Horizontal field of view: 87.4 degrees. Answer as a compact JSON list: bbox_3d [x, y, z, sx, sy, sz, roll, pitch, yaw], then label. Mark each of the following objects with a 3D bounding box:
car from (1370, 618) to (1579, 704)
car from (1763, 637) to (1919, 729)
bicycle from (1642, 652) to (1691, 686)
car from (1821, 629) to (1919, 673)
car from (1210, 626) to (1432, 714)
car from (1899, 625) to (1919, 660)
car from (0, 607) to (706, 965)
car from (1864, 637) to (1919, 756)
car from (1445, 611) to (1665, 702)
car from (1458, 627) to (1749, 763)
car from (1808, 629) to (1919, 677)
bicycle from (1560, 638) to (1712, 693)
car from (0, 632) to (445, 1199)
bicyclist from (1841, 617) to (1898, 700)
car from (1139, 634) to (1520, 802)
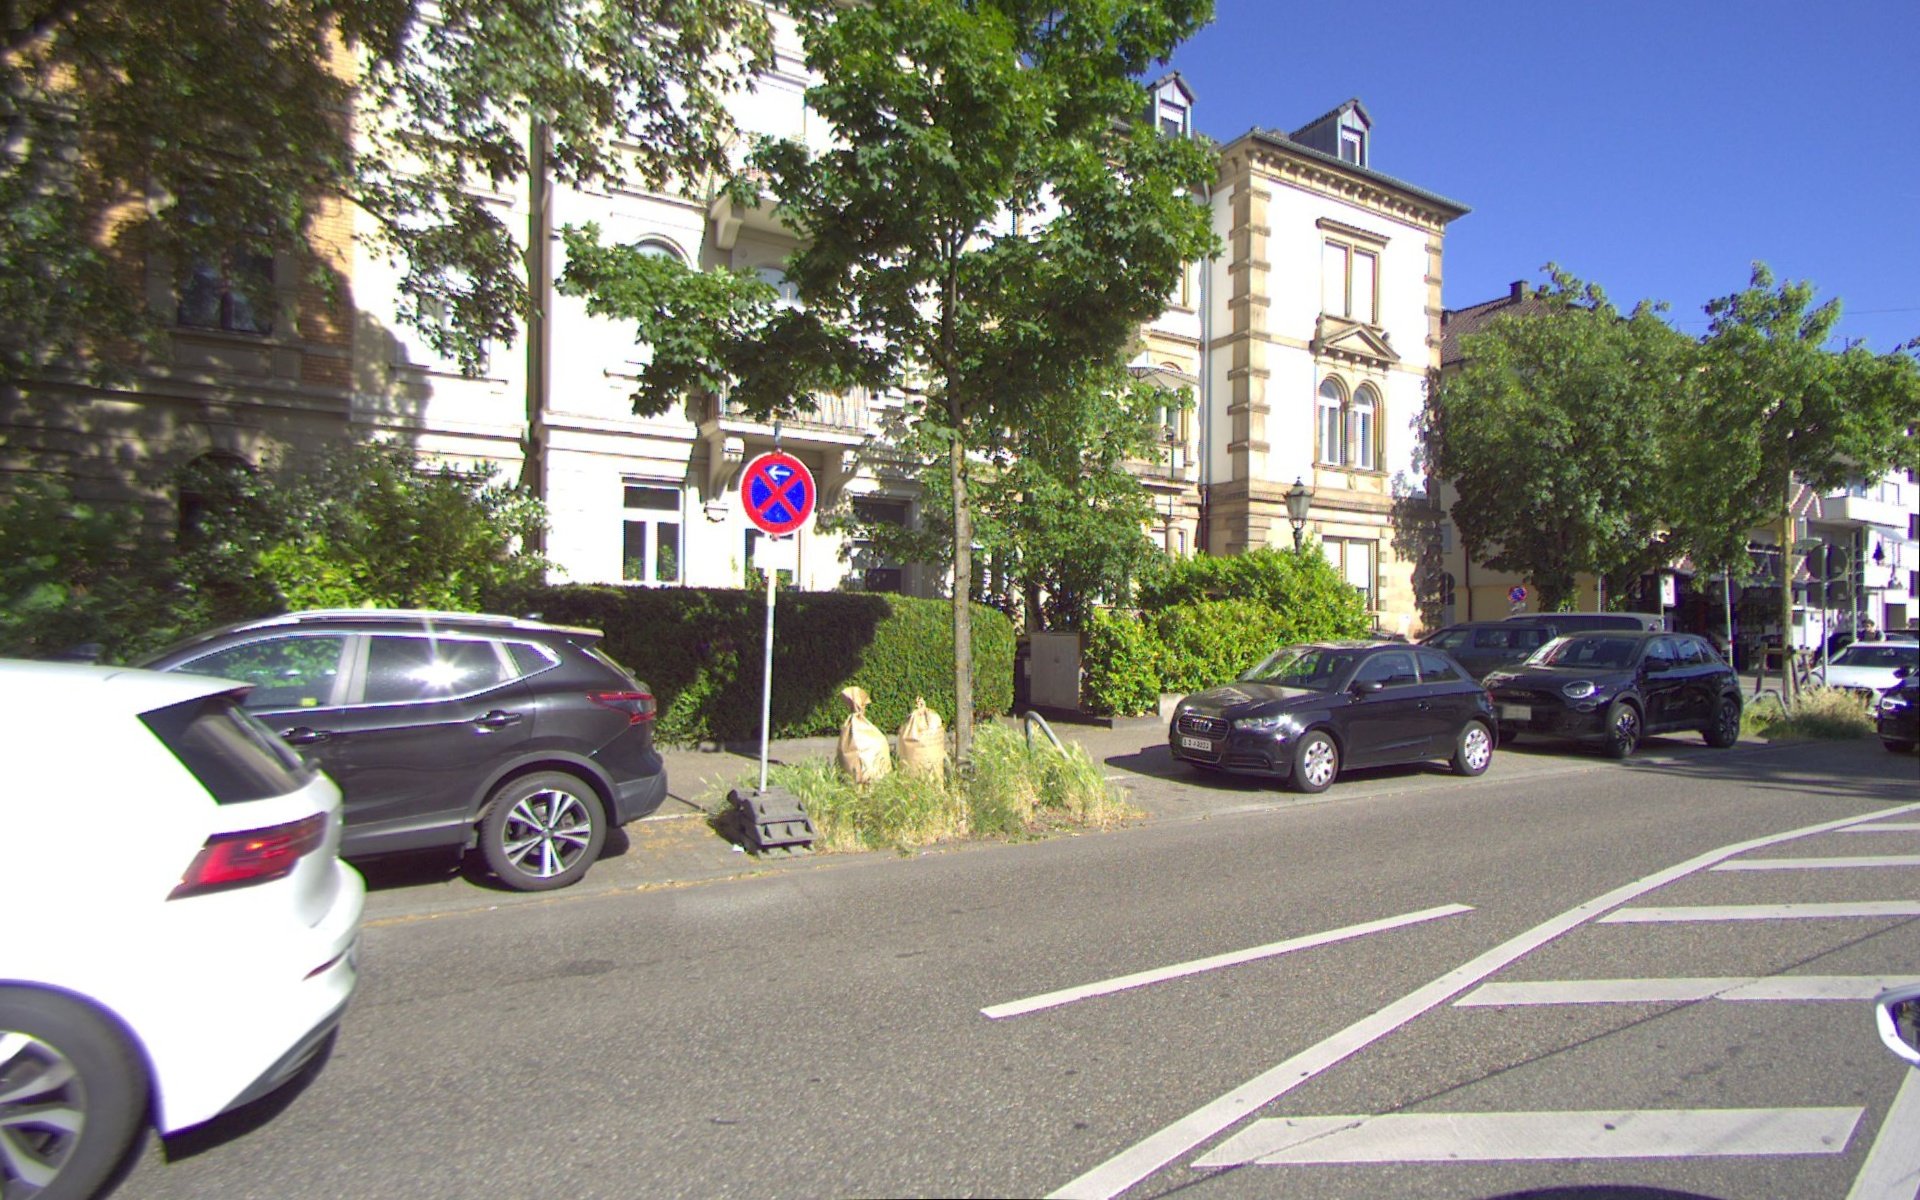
[{"bbox_3d":[11.164,1.246,21.908,3.857,1.666,1.674,0,0,37],"label":"car"},{"bbox_3d":[16.691,1.407,18.174,4.746,1.407,1.825,1,-1,-31],"label":"car"},{"bbox_3d":[22.114,2.144,31.418,1.734,0.972,0.402,0,-1,-24],"label":"bicycle"},{"bbox_3d":[33.841,1.823,36.194,1.707,1.480,3.981,0,0,-21],"label":"car"},{"bbox_3d":[7.047,1.300,19.723,3.853,1.508,1.628,0,0,33],"label":"car"},{"bbox_3d":[43.164,1.869,43.027,1.859,1.506,3.968,1,0,-30],"label":"car"},{"bbox_3d":[-3.847,0.880,5.869,4.298,1.609,1.616,1,0,-31],"label":"car"},{"bbox_3d":[13.822,1.210,13.223,4.125,1.472,1.683,1,-4,-31],"label":"car"},{"bbox_3d":[13.773,1.219,23.348,4.257,1.904,1.873,0,0,35],"label":"car"},{"bbox_3d":[8.736,1.171,13.580,3.959,1.575,1.670,1,-1,-29],"label":"car"},{"bbox_3d":[31.857,1.781,34.498,1.702,1.475,3.991,0,0,-11],"label":"car"},{"bbox_3d":[17.289,1.655,25.815,3.116,1.278,0.951,0,-3,26],"label":"bicycle"},{"bbox_3d":[-3.620,0.819,2.437,4.143,1.431,1.725,1,-4,-30],"label":"car"},{"bbox_3d":[20.906,1.328,23.092,1.042,1.848,0.655,1,-2,-30],"label":"bicyclist"},{"bbox_3d":[4.012,1.118,10.737,4.042,1.436,1.629,1,0,-30],"label":"car"}]
